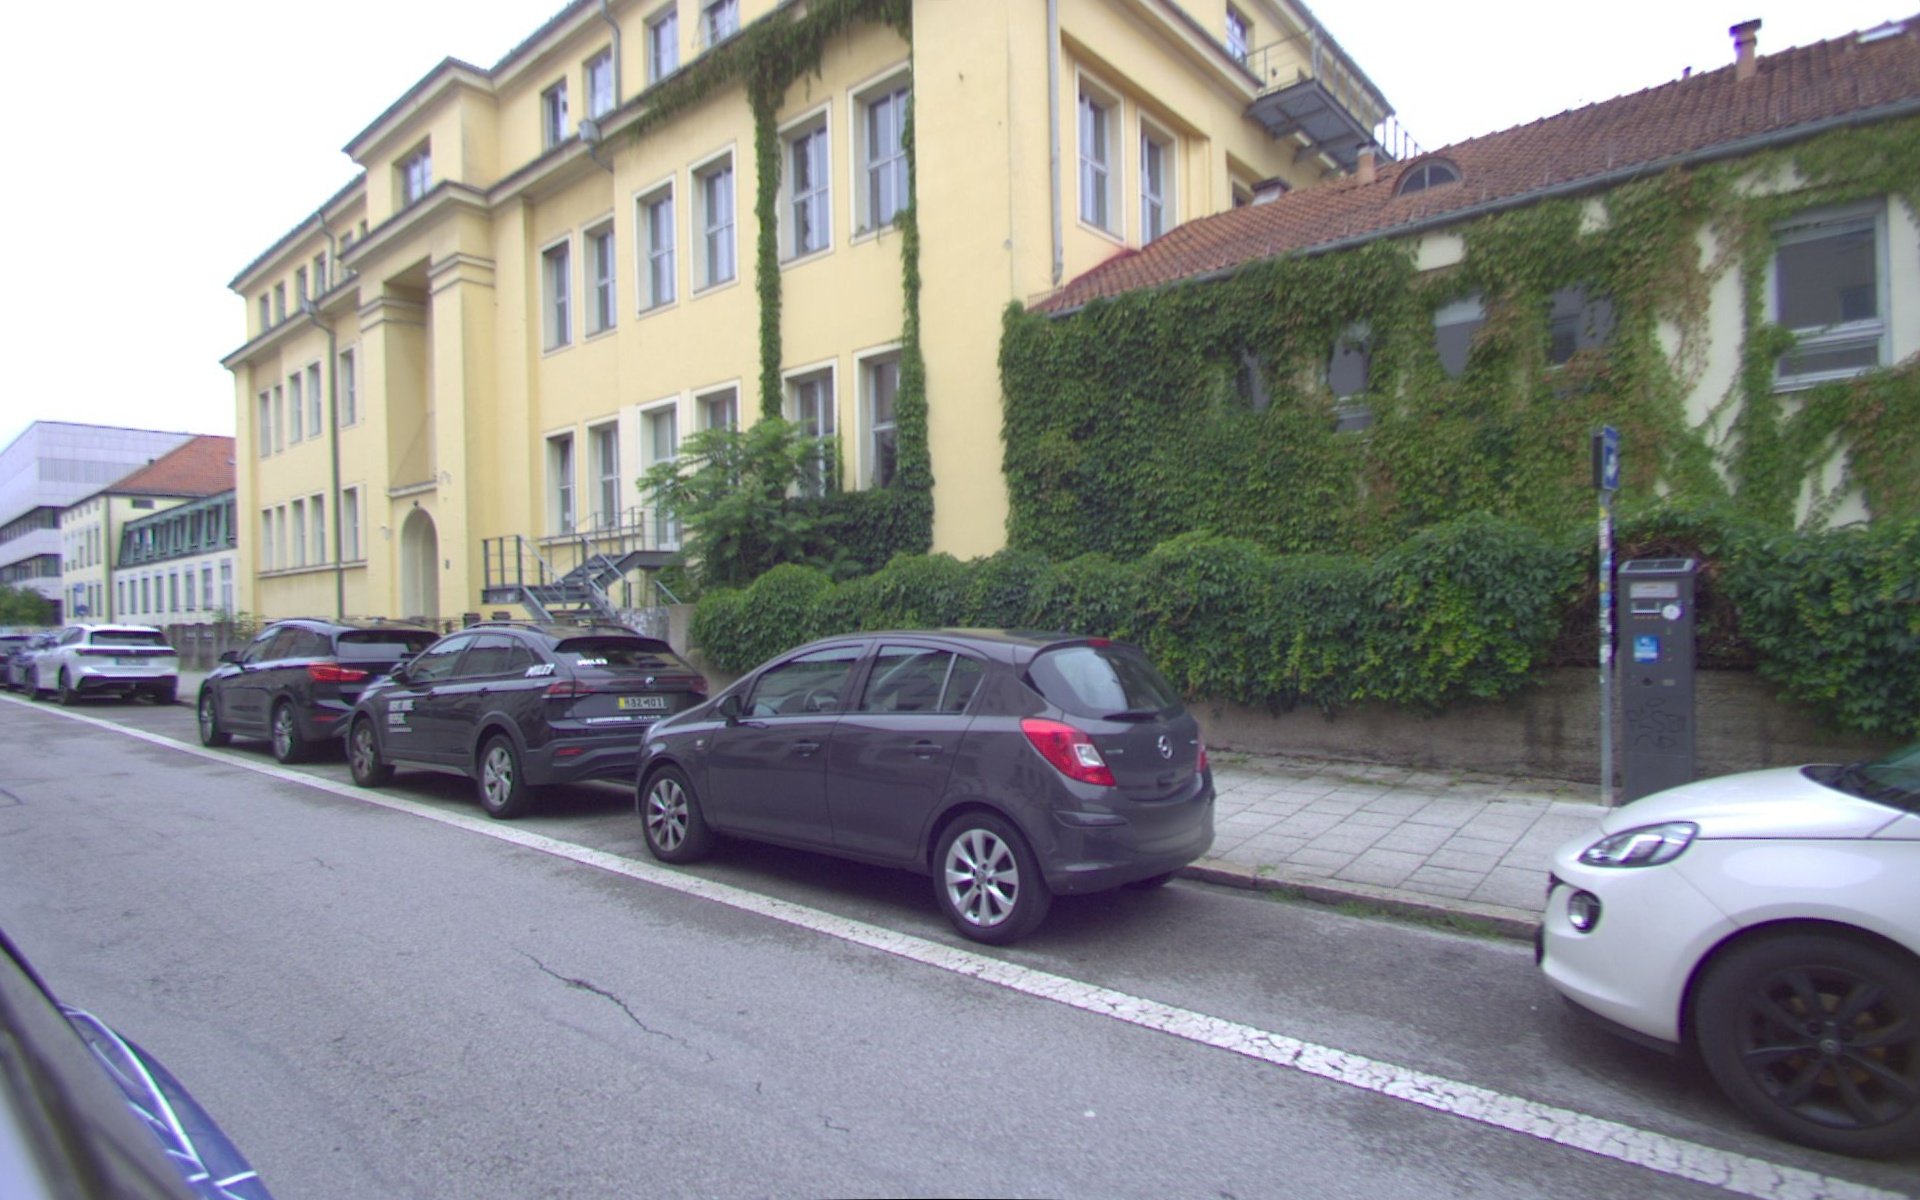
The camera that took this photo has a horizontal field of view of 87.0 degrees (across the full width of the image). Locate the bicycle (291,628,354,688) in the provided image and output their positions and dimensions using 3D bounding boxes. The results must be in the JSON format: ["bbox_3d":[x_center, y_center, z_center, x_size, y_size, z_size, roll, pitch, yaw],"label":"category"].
[{"bbox_3d":[-15.162,1.355,24.040,2.112,1.338,0.674,-2,0,41],"label":"bicycle"}]

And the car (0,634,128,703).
[{"bbox_3d":[-21.995,1.645,24.675,4.490,1.514,1.686,-2,-6,39],"label":"car"}]

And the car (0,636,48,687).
[{"bbox_3d":[-29.862,1.888,31.371,4.649,1.442,1.766,-2,0,41],"label":"car"}]

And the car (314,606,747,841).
[{"bbox_3d":[-4.042,0.938,9.173,4.461,1.642,1.707,-1,-3,39],"label":"car"}]

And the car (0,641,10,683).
[{"bbox_3d":[-35.681,2.181,36.211,4.659,1.440,1.776,-2,-4,39],"label":"car"}]

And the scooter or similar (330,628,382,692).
[{"bbox_3d":[-13.600,1.336,22.767,1.500,1.379,0.554,-2,-2,41],"label":"scooter or similar"}]

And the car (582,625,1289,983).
[{"bbox_3d":[-0.394,0.902,6.090,4.247,1.441,1.587,-1,-4,39],"label":"car"}]

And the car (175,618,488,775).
[{"bbox_3d":[-7.920,1.072,12.559,4.812,1.599,1.771,-2,-3,39],"label":"car"}]

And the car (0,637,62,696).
[{"bbox_3d":[-26.119,1.779,27.699,4.146,1.508,1.682,-2,-4,41],"label":"car"}]

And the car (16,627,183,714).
[{"bbox_3d":[-18.267,1.404,21.404,4.849,1.646,1.729,-2,-2,38],"label":"car"}]

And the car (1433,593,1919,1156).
[{"bbox_3d":[3.628,0.720,2.721,4.014,1.452,1.575,-1,-3,39],"label":"car"}]

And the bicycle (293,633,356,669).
[{"bbox_3d":[-19.653,1.567,31.332,0.425,1.058,1.643,-2,-1,33],"label":"bicycle"}]
